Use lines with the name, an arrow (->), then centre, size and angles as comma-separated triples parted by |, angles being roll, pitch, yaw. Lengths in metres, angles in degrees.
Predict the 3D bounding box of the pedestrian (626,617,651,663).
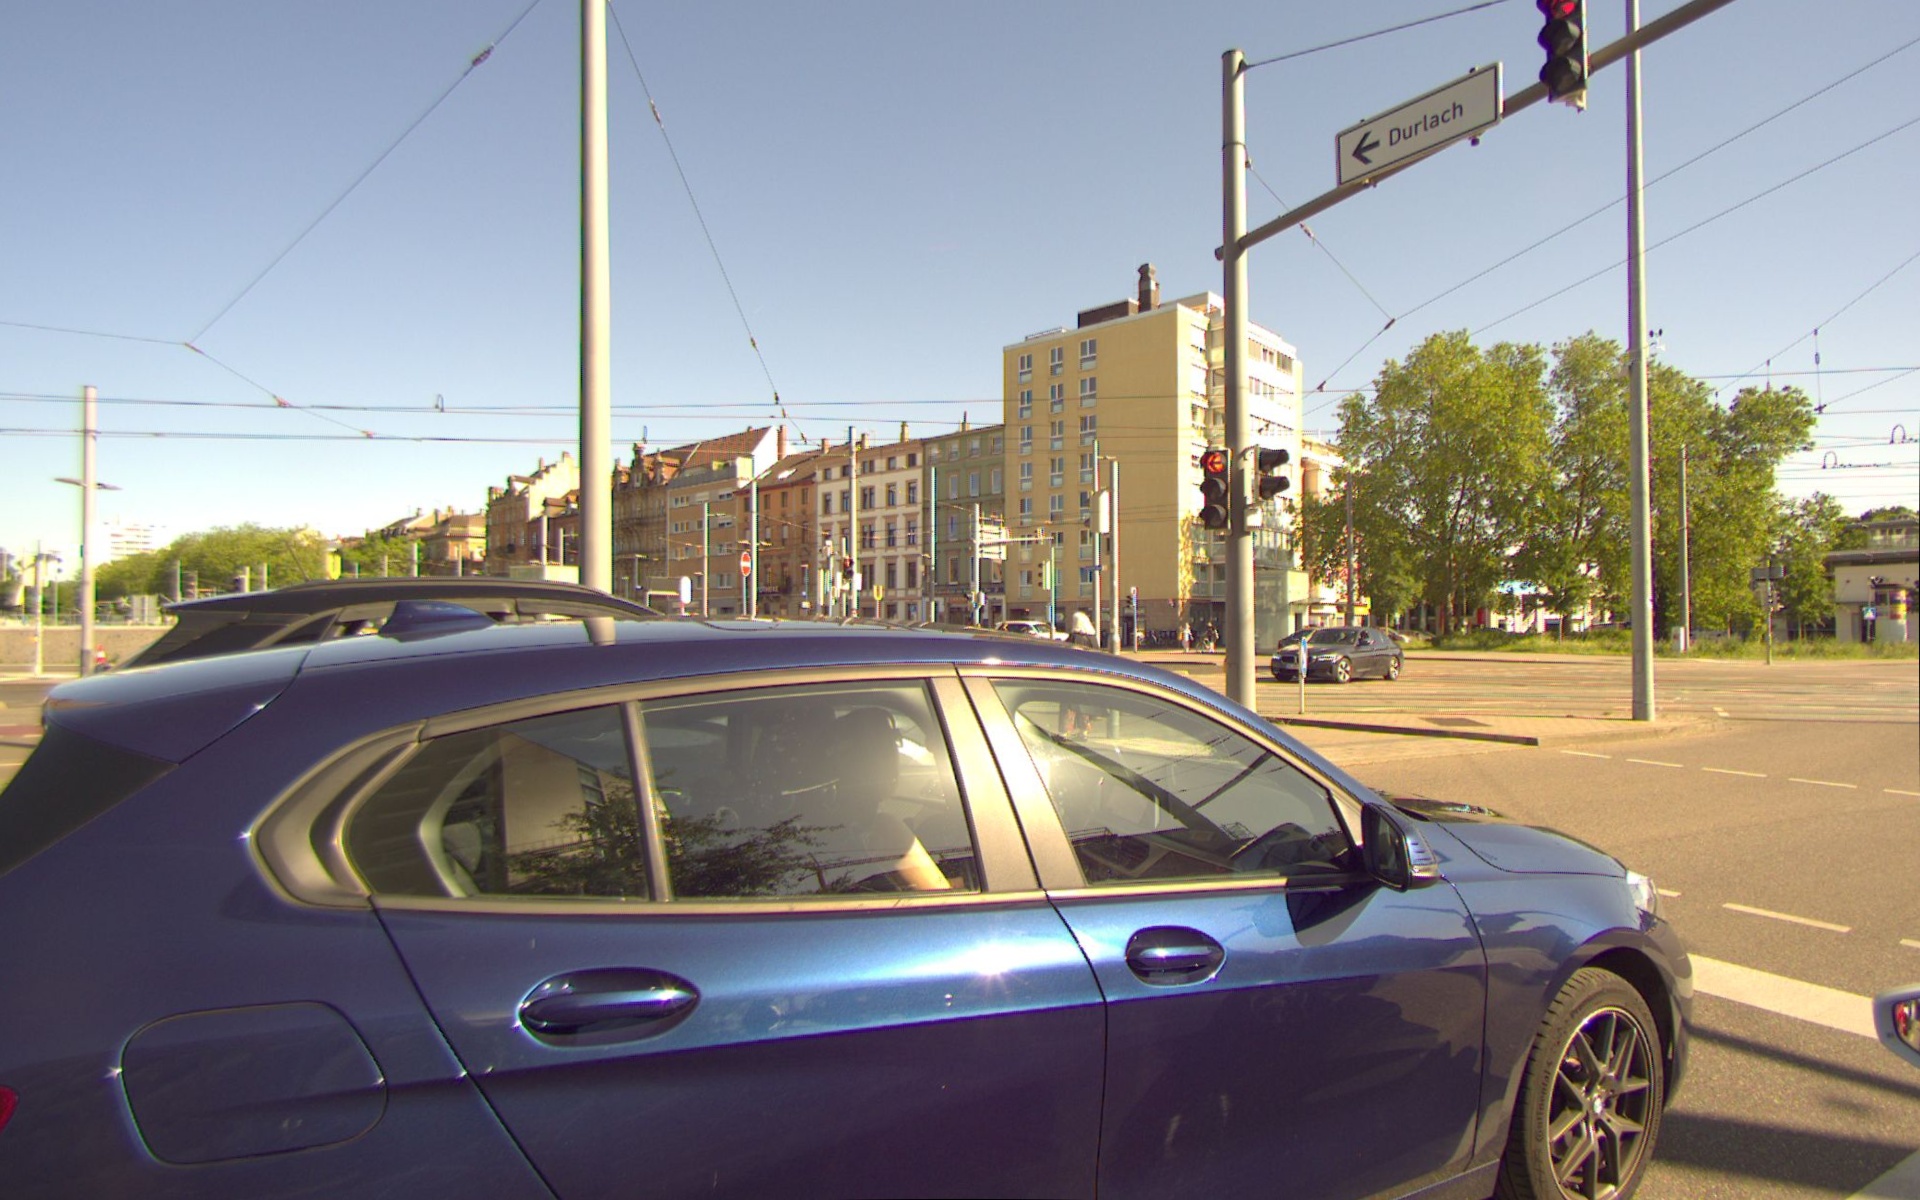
pedestrian -> -12.180, 1.500, 38.090 | 0.672, 1.735, 0.793 | 1, -1, -38

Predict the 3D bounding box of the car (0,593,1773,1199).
car -> 0.100, 0.763, 2.525 | 3.984, 1.464, 1.703 | 1, 0, -30

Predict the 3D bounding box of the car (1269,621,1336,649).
car -> 21.719, 2.198, 63.729 | 3.691, 1.684, 1.586 | -1, -2, 42

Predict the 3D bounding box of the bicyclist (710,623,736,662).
bicyclist -> -9.210, 1.636, 39.016 | 0.674, 1.474, 0.775 | 1, -2, -44

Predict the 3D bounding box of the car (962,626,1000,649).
car -> 1.370, 2.492, 66.997 | 1.745, 1.446, 3.873 | 0, -2, -10

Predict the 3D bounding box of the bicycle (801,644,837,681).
bicycle -> -3.674, 1.614, 26.068 | 0.667, 0.890, 1.892 | 0, -2, -16

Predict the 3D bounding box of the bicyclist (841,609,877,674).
bicyclist -> -2.671, 1.083, 26.499 | 0.672, 1.676, 0.777 | 1, -1, -35

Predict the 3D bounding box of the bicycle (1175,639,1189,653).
bicycle -> 13.030, 2.684, 58.888 | 0.478, 0.822, 1.612 | -1, -2, 23

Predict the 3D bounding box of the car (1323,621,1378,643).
car -> 30.007, 2.442, 77.239 | 3.691, 1.684, 1.586 | -1, -2, 42

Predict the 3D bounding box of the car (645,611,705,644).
car -> -24.203, 2.330, 85.153 | 5.838, 2.780, 2.133 | -1, -2, 42

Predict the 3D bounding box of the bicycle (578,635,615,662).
bicycle -> -15.389, 2.053, 42.526 | 1.871, 1.120, 0.675 | -1, -2, 42

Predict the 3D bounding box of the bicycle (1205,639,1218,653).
bicycle -> 14.527, 2.633, 58.020 | 0.451, 0.790, 1.808 | -1, -2, 23

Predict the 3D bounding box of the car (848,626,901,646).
car -> -6.301, 2.652, 74.474 | 1.749, 1.446, 3.863 | -1, -2, 39

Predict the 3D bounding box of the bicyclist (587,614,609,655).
bicyclist -> -15.300, 1.459, 42.485 | 0.609, 1.735, 0.675 | -1, -2, 41

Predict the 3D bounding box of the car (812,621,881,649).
car -> -7.011, 2.119, 61.989 | 4.244, 1.675, 1.849 | -1, -2, 40

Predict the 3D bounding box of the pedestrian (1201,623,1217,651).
pedestrian -> 14.449, 2.150, 58.281 | 0.755, 1.581, 0.614 | -1, -1, 34

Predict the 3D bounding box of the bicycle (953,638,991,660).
bicycle -> 0.544, 2.250, 46.218 | 1.666, 0.958, 0.614 | 1, -1, -30

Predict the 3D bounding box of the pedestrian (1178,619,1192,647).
pedestrian -> 13.185, 1.934, 58.934 | 0.702, 1.581, 0.557 | -1, -1, 23

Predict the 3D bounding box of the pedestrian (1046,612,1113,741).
pedestrian -> 1.499, 0.943, 12.609 | 0.749, 1.575, 0.356 | 0, -1, -17

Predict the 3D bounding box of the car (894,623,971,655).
car -> -1.561, 2.164, 56.322 | 4.246, 1.675, 1.848 | -1, -2, 42

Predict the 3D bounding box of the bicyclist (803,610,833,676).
bicyclist -> -3.701, 1.107, 26.185 | 0.667, 1.676, 0.782 | 0, -1, -16

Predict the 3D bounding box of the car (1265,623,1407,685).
car -> 10.090, 1.376, 26.773 | 1.840, 1.521, 4.539 | -1, -2, 45

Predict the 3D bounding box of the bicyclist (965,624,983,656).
bicyclist -> 0.632, 1.843, 46.284 | 0.609, 1.462, 0.614 | 1, -1, -30

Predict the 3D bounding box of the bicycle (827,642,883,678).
bicycle -> -2.807, 1.579, 26.686 | 0.672, 0.890, 1.880 | 1, -2, -35

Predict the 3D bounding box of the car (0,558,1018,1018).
car -> -1.851, 0.664, 5.068 | 3.959, 1.537, 1.751 | 1, -1, -28

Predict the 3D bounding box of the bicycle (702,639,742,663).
bicycle -> -9.255, 1.965, 39.065 | 0.674, 0.890, 1.874 | 1, -2, -44

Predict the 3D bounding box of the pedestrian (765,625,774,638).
pedestrian -> -17.204, 2.843, 90.879 | 0.739, 1.220, 0.422 | -1, -2, 42

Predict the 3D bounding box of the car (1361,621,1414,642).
car -> 34.992, 2.577, 82.274 | 3.691, 1.684, 1.586 | -1, -2, 42

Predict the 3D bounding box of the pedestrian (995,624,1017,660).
pedestrian -> 2.073, 1.897, 45.254 | 0.669, 1.593, 0.740 | 1, -2, -45

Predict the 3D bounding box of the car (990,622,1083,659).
car -> 3.599, 1.907, 47.734 | 4.249, 1.675, 1.847 | -1, -2, 44
